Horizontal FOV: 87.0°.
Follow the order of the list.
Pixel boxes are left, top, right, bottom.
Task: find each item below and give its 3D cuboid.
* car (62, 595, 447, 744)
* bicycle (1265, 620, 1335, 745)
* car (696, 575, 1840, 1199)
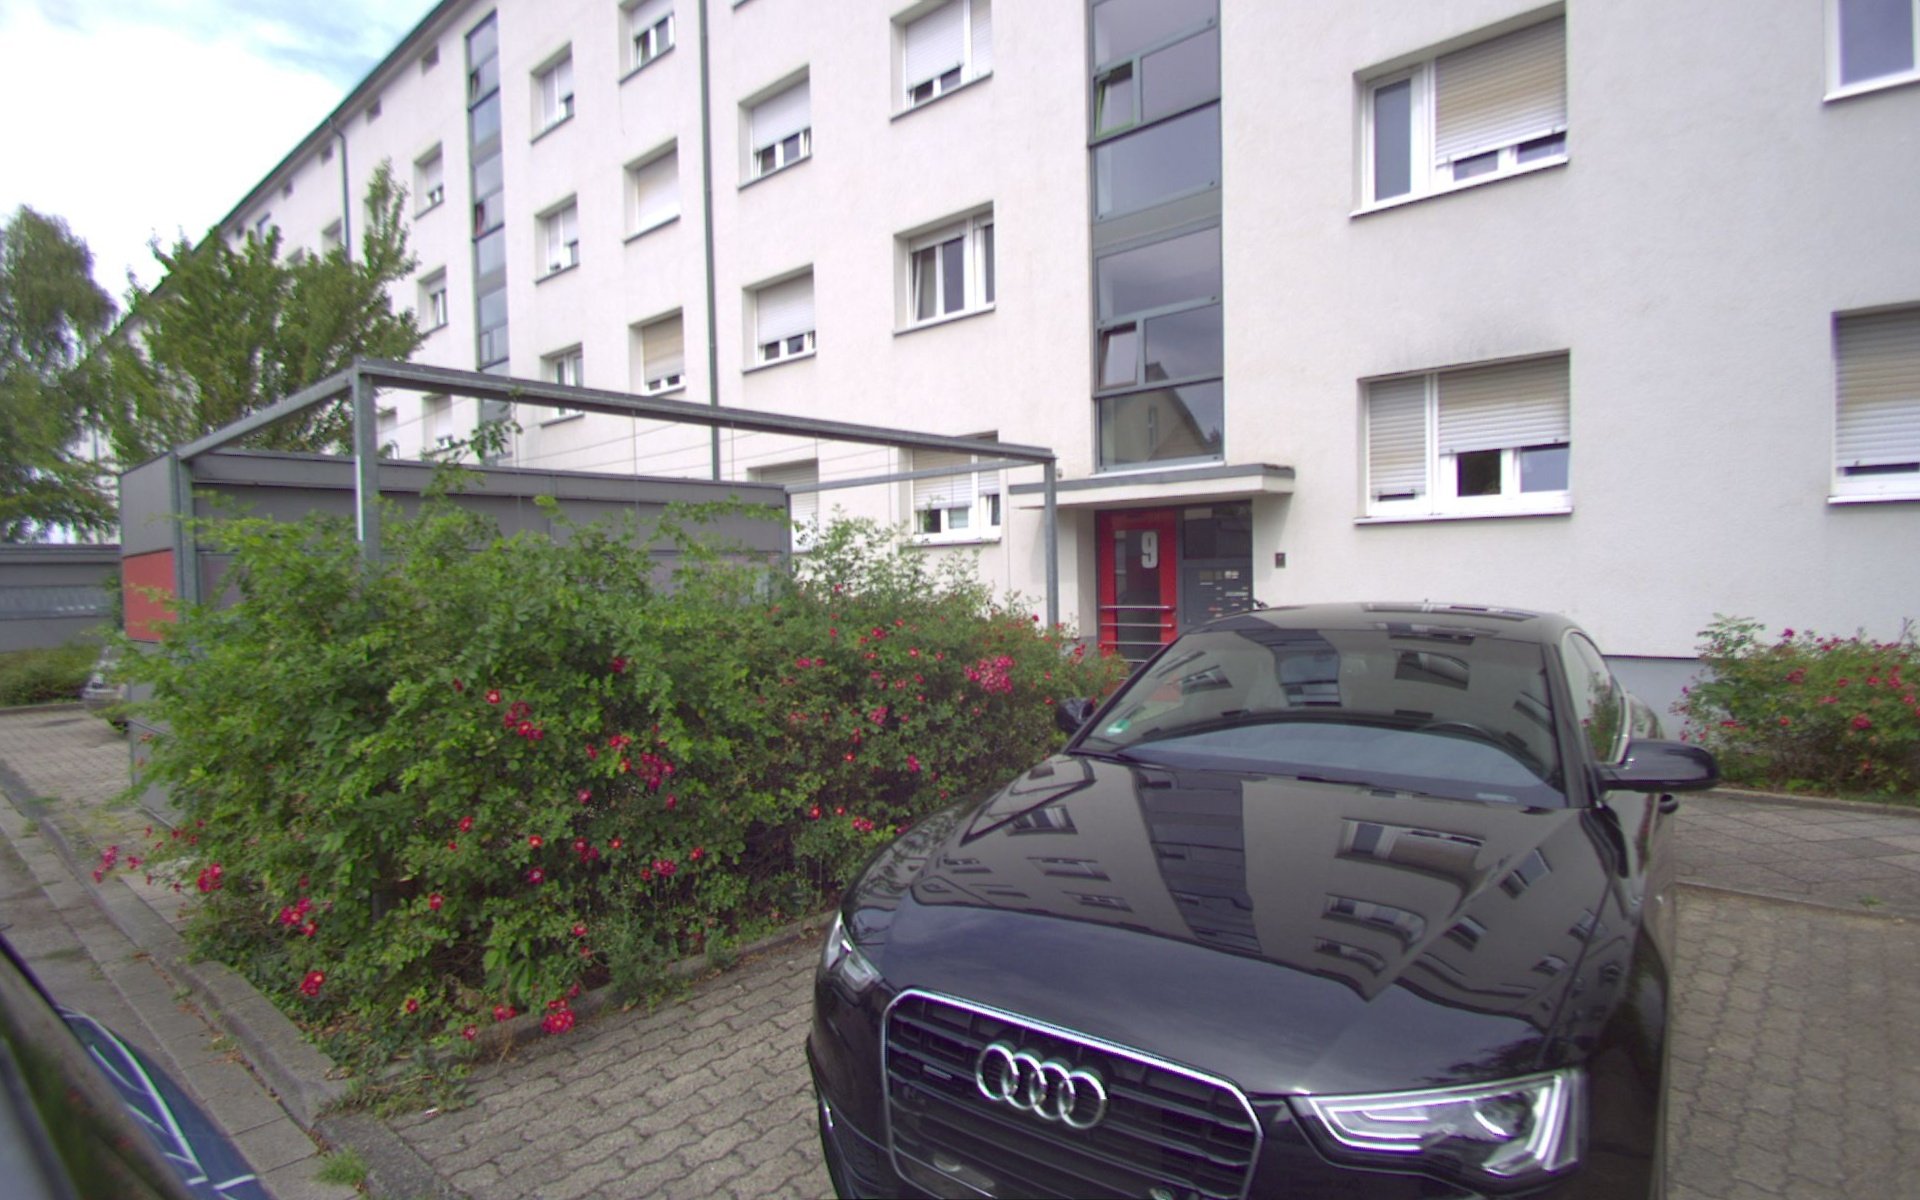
[{"bbox_3d":[-8.476,0.720,12.401,1.708,1.492,3.528,-1,0,37],"label":"car"},{"bbox_3d":[2.952,0.681,8.871,0.390,0.964,1.382,-1,1,11],"label":"bicycle"},{"bbox_3d":[1.449,0.650,3.425,1.919,1.386,4.286,-1,1,36],"label":"car"}]
